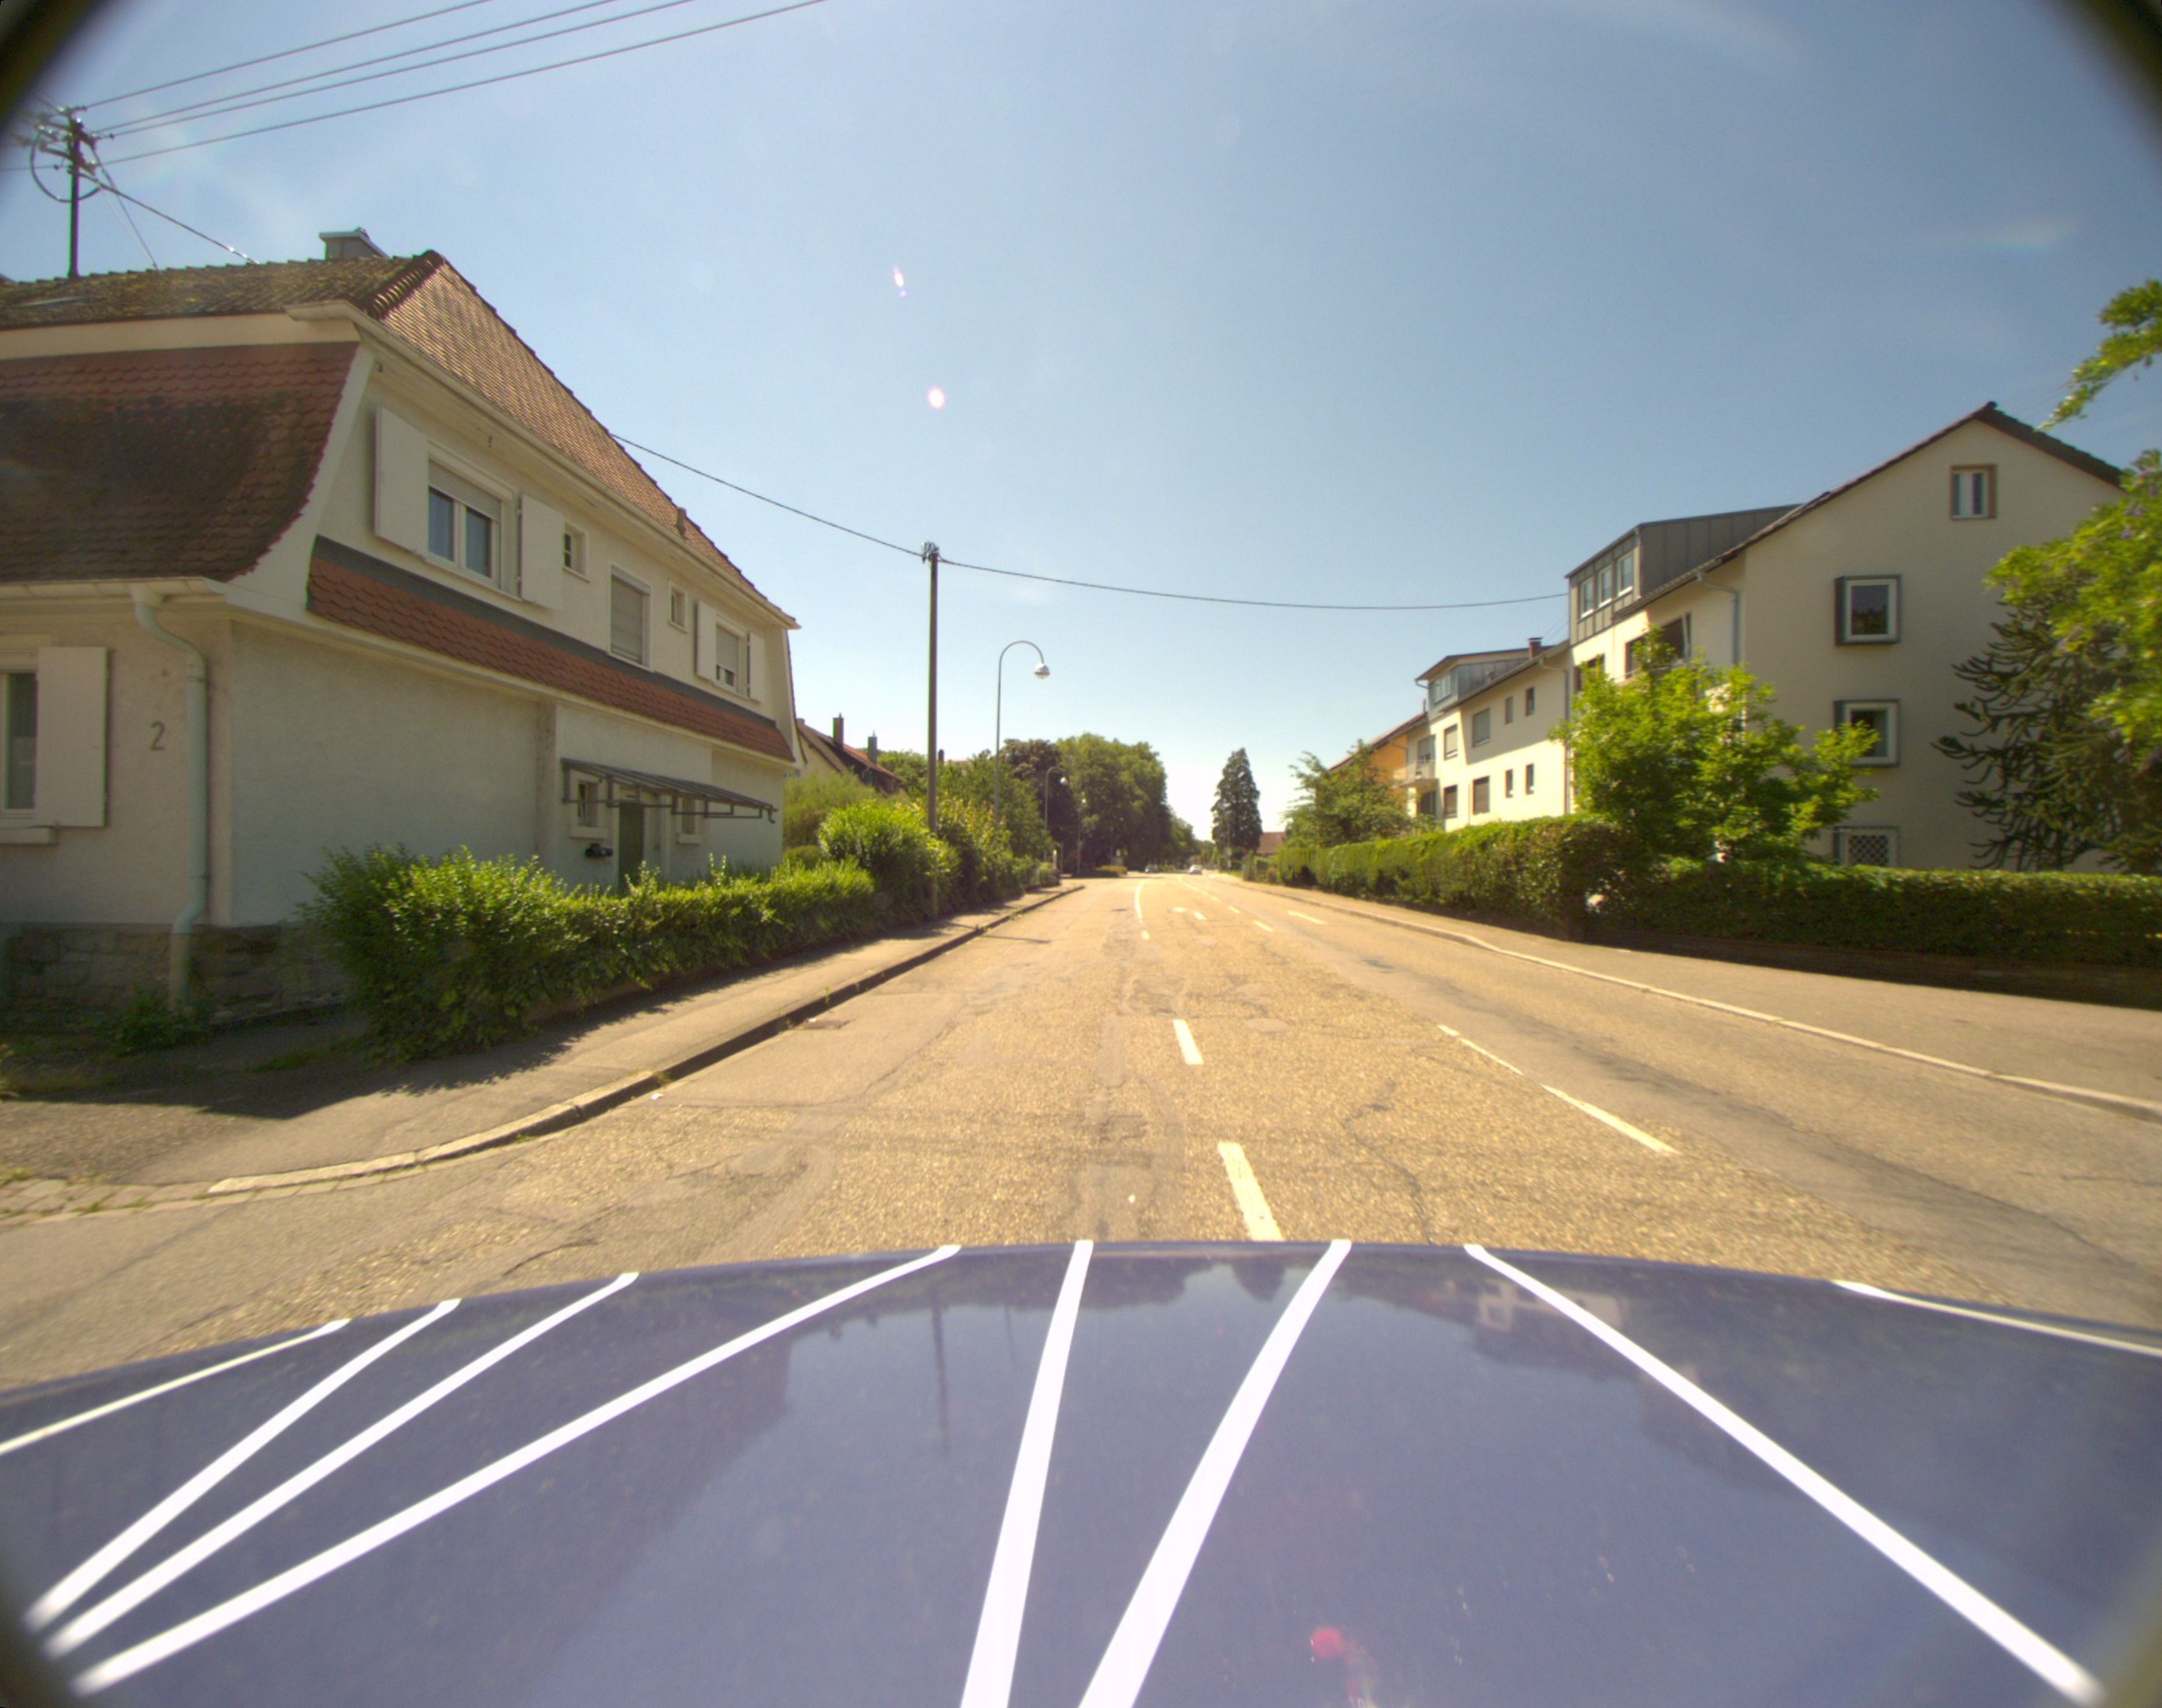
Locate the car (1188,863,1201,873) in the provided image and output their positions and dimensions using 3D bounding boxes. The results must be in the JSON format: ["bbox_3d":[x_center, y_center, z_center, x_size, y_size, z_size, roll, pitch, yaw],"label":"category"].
[{"bbox_3d":[17.067,2.076,114.276,1.684,1.364,4.208,2,0,6],"label":"car"}]

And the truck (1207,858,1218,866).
[{"bbox_3d":[41.664,2.540,240.500,2.619,2.227,6.267,0,-1,19],"label":"truck"}]

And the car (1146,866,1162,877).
[{"bbox_3d":[11.165,2.658,115.453,1.882,1.623,4.325,1,0,12],"label":"car"}]
